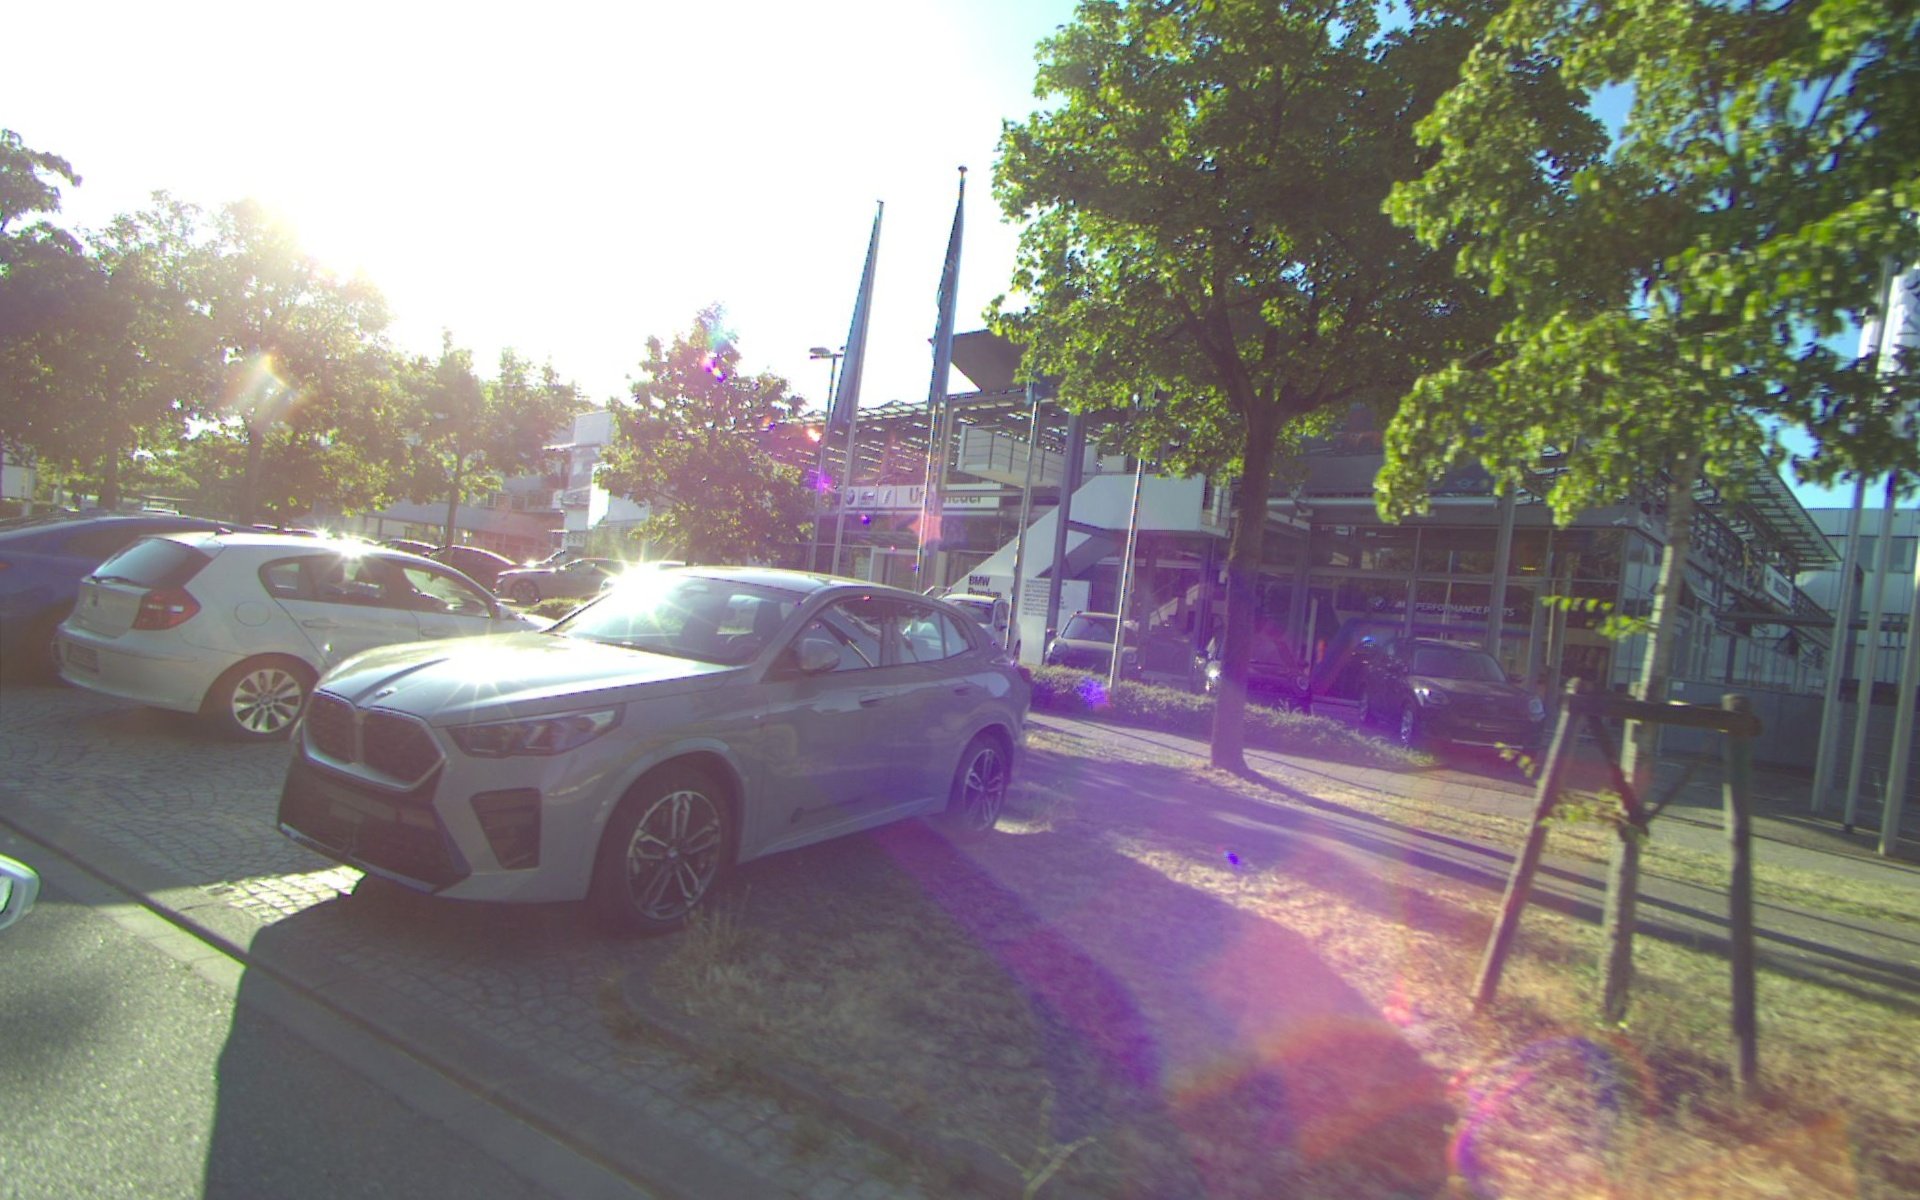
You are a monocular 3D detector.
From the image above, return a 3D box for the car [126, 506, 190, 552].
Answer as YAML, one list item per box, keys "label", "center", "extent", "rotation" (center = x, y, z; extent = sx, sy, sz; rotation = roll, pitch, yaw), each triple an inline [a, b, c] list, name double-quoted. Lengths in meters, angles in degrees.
- label: "car"
  center: [-38.775, -3.462, 48.600]
  extent: [2.024, 1.850, 4.918]
  rotation: [7, 0, -42]

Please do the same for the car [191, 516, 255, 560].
- label: "car"
  center: [-36.895, -3.128, 50.327]
  extent: [2.024, 1.850, 4.507]
  rotation: [7, 0, -42]

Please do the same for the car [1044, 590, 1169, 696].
- label: "car"
  center: [2.708, 0.781, 19.481]
  extent: [1.962, 1.593, 4.607]
  rotation: [6, -1, 5]

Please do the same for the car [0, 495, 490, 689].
- label: "car"
  center: [-7.249, -0.066, 9.590]
  extent: [1.967, 1.475, 4.628]
  rotation: [6, 1, 31]

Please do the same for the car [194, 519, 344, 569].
- label: "car"
  center: [-28.901, -2.311, 42.256]
  extent: [4.717, 1.482, 1.993]
  rotation: [7, 0, -17]

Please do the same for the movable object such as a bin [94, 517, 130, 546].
- label: "movable object such as a bin"
  center: [-42.692, -3.441, 50.666]
  extent: [1.023, 1.283, 1.116]
  rotation: [6, 0, 39]

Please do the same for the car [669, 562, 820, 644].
- label: "car"
  center: [-5.049, 0.118, 24.311]
  extent: [1.962, 1.593, 4.607]
  rotation: [6, -1, 8]

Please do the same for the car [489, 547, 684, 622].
- label: "car"
  center: [-11.004, -0.437, 30.060]
  extent: [5.107, 1.591, 1.995]
  rotation: [7, 0, -13]

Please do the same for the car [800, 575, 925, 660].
- label: "car"
  center: [-2.152, 0.428, 23.677]
  extent: [1.962, 1.593, 4.607]
  rotation: [6, -1, 5]

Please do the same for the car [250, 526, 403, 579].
- label: "car"
  center: [-25.343, -1.872, 40.432]
  extent: [4.717, 1.482, 2.039]
  rotation: [7, 0, -17]

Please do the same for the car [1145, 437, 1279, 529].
- label: "car"
  center: [7.194, -3.245, 28.496]
  extent: [1.764, 1.685, 3.981]
  rotation: [7, -3, 45]

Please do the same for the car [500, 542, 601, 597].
- label: "car"
  center: [-19.414, -1.419, 47.919]
  extent: [4.120, 2.038, 1.993]
  rotation: [7, 0, -18]

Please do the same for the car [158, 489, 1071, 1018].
- label: "car"
  center: [-1.277, 0.542, 5.652]
  extent: [1.966, 1.605, 4.595]
  rotation: [6, 1, 30]

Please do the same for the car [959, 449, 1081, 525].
- label: "car"
  center: [2.085, -3.780, 34.101]
  extent: [1.764, 1.685, 3.981]
  rotation: [7, -3, 45]

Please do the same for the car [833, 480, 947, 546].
- label: "car"
  center: [-2.613, -3.241, 38.027]
  extent: [1.764, 1.685, 3.982]
  rotation: [7, -3, 44]

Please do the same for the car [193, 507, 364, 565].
- label: "car"
  center: [-24.981, -2.315, 37.097]
  extent: [4.717, 1.482, 1.993]
  rotation: [7, 0, -17]

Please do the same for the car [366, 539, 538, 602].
- label: "car"
  center: [-16.973, -0.962, 33.850]
  extent: [4.712, 1.482, 1.995]
  rotation: [7, 0, -13]

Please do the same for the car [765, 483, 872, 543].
- label: "car"
  center: [-5.843, -3.571, 41.766]
  extent: [1.764, 1.685, 3.982]
  rotation: [7, -3, 44]

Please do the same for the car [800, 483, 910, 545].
- label: "car"
  center: [-4.138, -3.388, 39.991]
  extent: [1.764, 1.685, 3.982]
  rotation: [7, -3, 44]

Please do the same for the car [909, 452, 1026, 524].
- label: "car"
  center: [0.315, -3.968, 36.002]
  extent: [1.764, 1.685, 3.981]
  rotation: [7, -3, 45]

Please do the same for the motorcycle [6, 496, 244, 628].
- label: "motorcycle"
  center: [-10.730, -0.434, 13.050]
  extent: [0.932, 1.484, 2.131]
  rotation: [6, 0, 16]

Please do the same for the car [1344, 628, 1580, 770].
- label: "car"
  center: [7.918, 1.452, 16.444]
  extent: [1.962, 1.688, 4.605]
  rotation: [6, 0, 8]

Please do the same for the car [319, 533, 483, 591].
- label: "car"
  center: [-19.958, -1.336, 36.175]
  extent: [4.717, 1.482, 1.993]
  rotation: [7, 0, -17]

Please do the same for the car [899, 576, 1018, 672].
- label: "car"
  center: [0.099, 0.461, 21.188]
  extent: [1.962, 1.594, 4.605]
  rotation: [6, 0, 5]

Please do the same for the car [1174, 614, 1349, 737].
- label: "car"
  center: [5.194, 1.207, 18.026]
  extent: [1.962, 1.688, 4.605]
  rotation: [6, 0, 5]

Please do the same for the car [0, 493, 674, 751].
- label: "car"
  center: [-4.811, 0.188, 8.460]
  extent: [1.967, 1.498, 4.379]
  rotation: [6, 1, 31]

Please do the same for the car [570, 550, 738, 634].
- label: "car"
  center: [-7.661, -0.178, 25.800]
  extent: [2.365, 1.712, 4.729]
  rotation: [6, 0, 5]

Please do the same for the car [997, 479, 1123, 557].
- label: "car"
  center: [3.239, -2.600, 32.219]
  extent: [1.764, 1.685, 3.982]
  rotation: [7, -3, 44]
